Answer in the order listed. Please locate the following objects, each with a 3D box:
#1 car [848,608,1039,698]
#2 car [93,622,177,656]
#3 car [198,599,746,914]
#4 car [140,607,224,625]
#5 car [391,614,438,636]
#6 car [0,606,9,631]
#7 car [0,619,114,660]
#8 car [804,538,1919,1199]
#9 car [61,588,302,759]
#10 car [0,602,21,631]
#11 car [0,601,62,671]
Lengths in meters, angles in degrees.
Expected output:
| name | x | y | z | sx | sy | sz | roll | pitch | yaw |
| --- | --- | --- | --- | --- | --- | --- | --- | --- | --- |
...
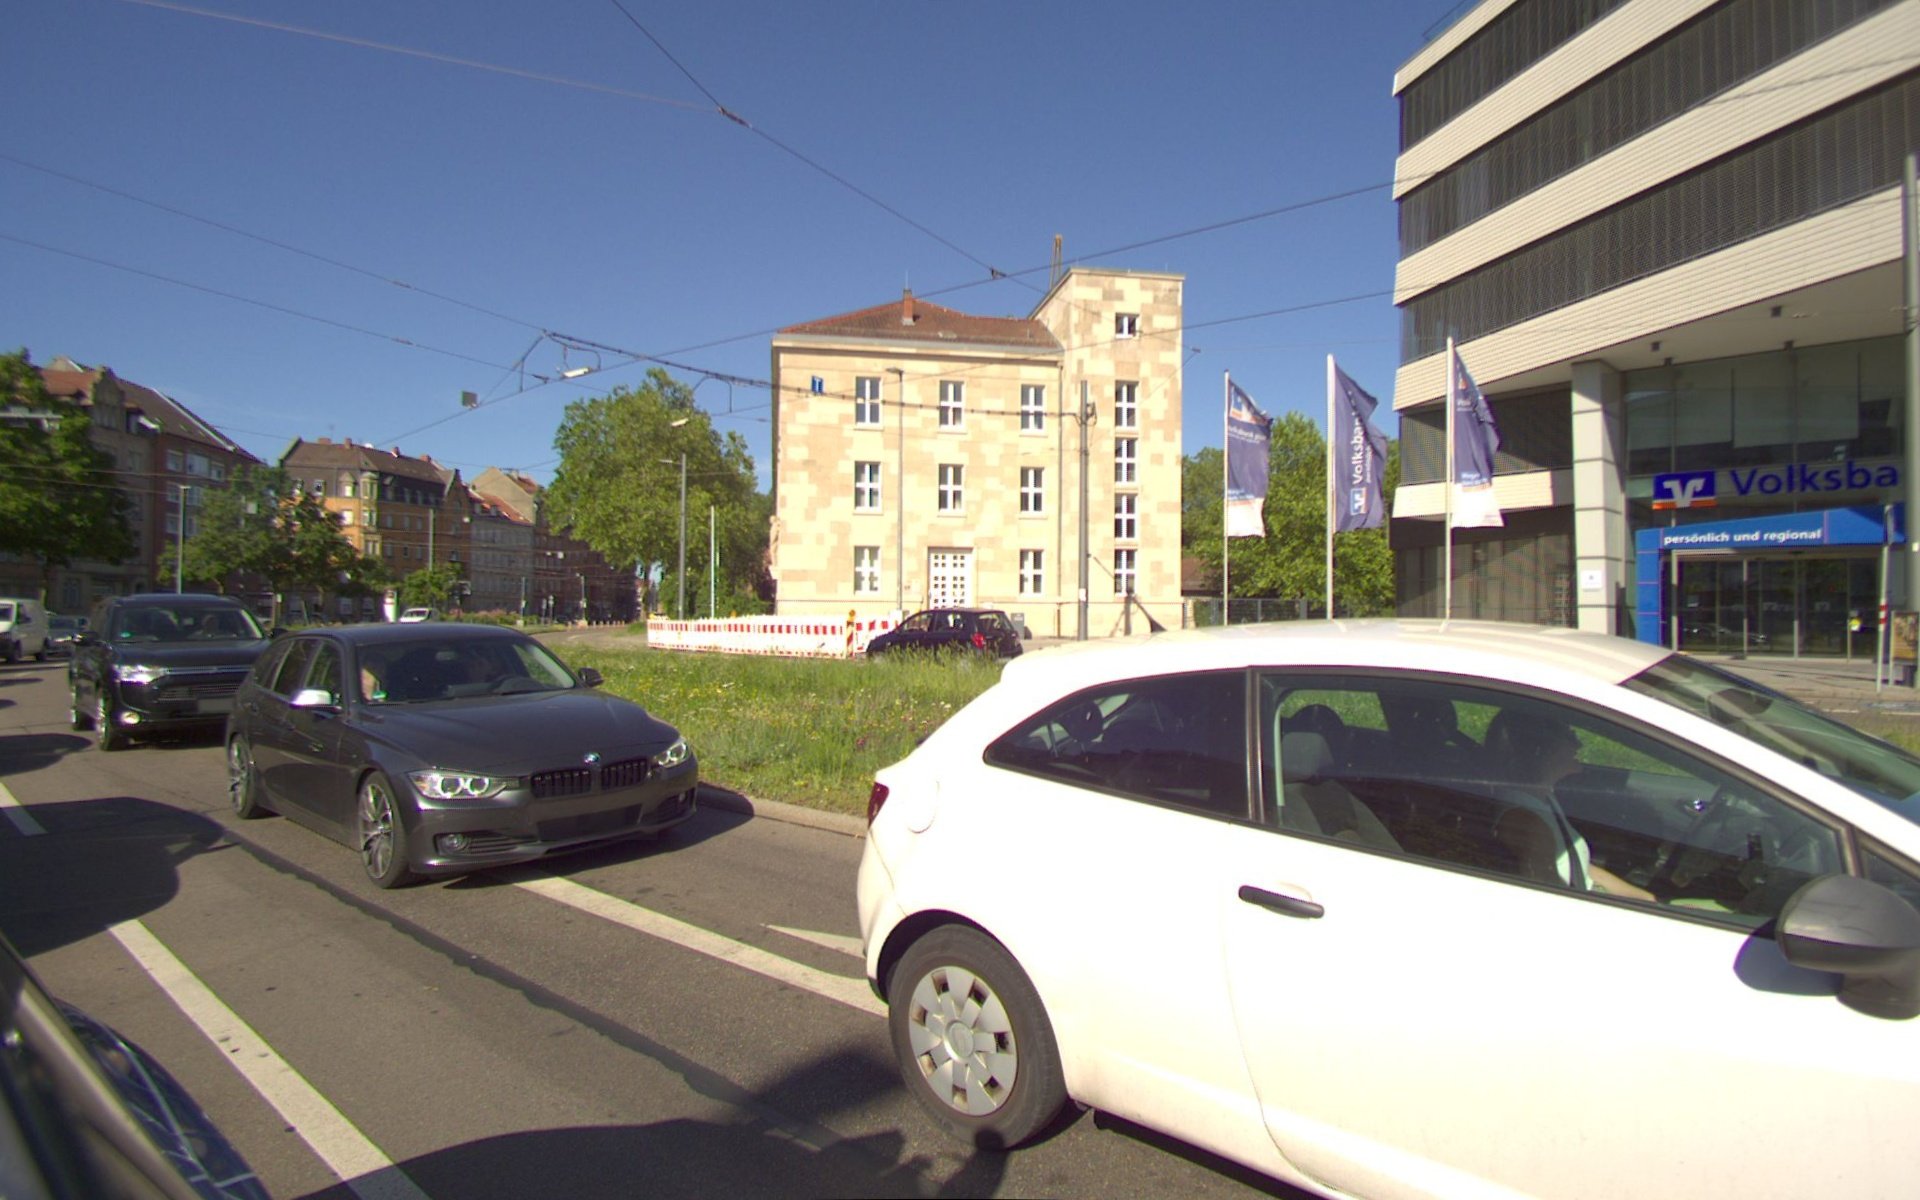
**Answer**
| name | x | y | z | sx | sy | sz | roll | pitch | yaw |
| --- | --- | --- | --- | --- | --- | --- | --- | --- | --- |
| car | -0.410 | 1.086 | 21.975 | 3.995 | 1.763 | 1.747 | -1 | -2 | 39 |
| car | -35.879 | 1.666 | 44.141 | 1.799 | 1.395 | 4.670 | 1 | -1 | -26 |
| car | -3.534 | 0.747 | 6.852 | 4.483 | 1.441 | 1.816 | -1 | 0 | 42 |
| car | -53.750 | 1.111 | 69.996 | 2.000 | 1.219 | 4.338 | -1 | -2 | 43 |
| car | -39.633 | 1.805 | 73.615 | 1.844 | 1.568 | 4.009 | 0 | -1 | -11 |
| car | -49.777 | 0.913 | 49.666 | 4.329 | 1.243 | 2.004 | 1 | -1 | -37 |
| car | -32.514 | 1.384 | 36.595 | 1.842 | 1.395 | 4.670 | 1 | -1 | -26 |
| car | 1.529 | 0.608 | 2.391 | 3.834 | 1.441 | 1.647 | -1 | 1 | 41 |
| car | -9.467 | 0.746 | 12.166 | 4.329 | 1.697 | 1.744 | -1 | 0 | 45 |
| car | -51.463 | 0.855 | 52.104 | 4.329 | 1.472 | 2.004 | 1 | -2 | -37 |
| car | -29.391 | 1.072 | 30.814 | 1.842 | 1.997 | 4.670 | 1 | -1 | -26 |
